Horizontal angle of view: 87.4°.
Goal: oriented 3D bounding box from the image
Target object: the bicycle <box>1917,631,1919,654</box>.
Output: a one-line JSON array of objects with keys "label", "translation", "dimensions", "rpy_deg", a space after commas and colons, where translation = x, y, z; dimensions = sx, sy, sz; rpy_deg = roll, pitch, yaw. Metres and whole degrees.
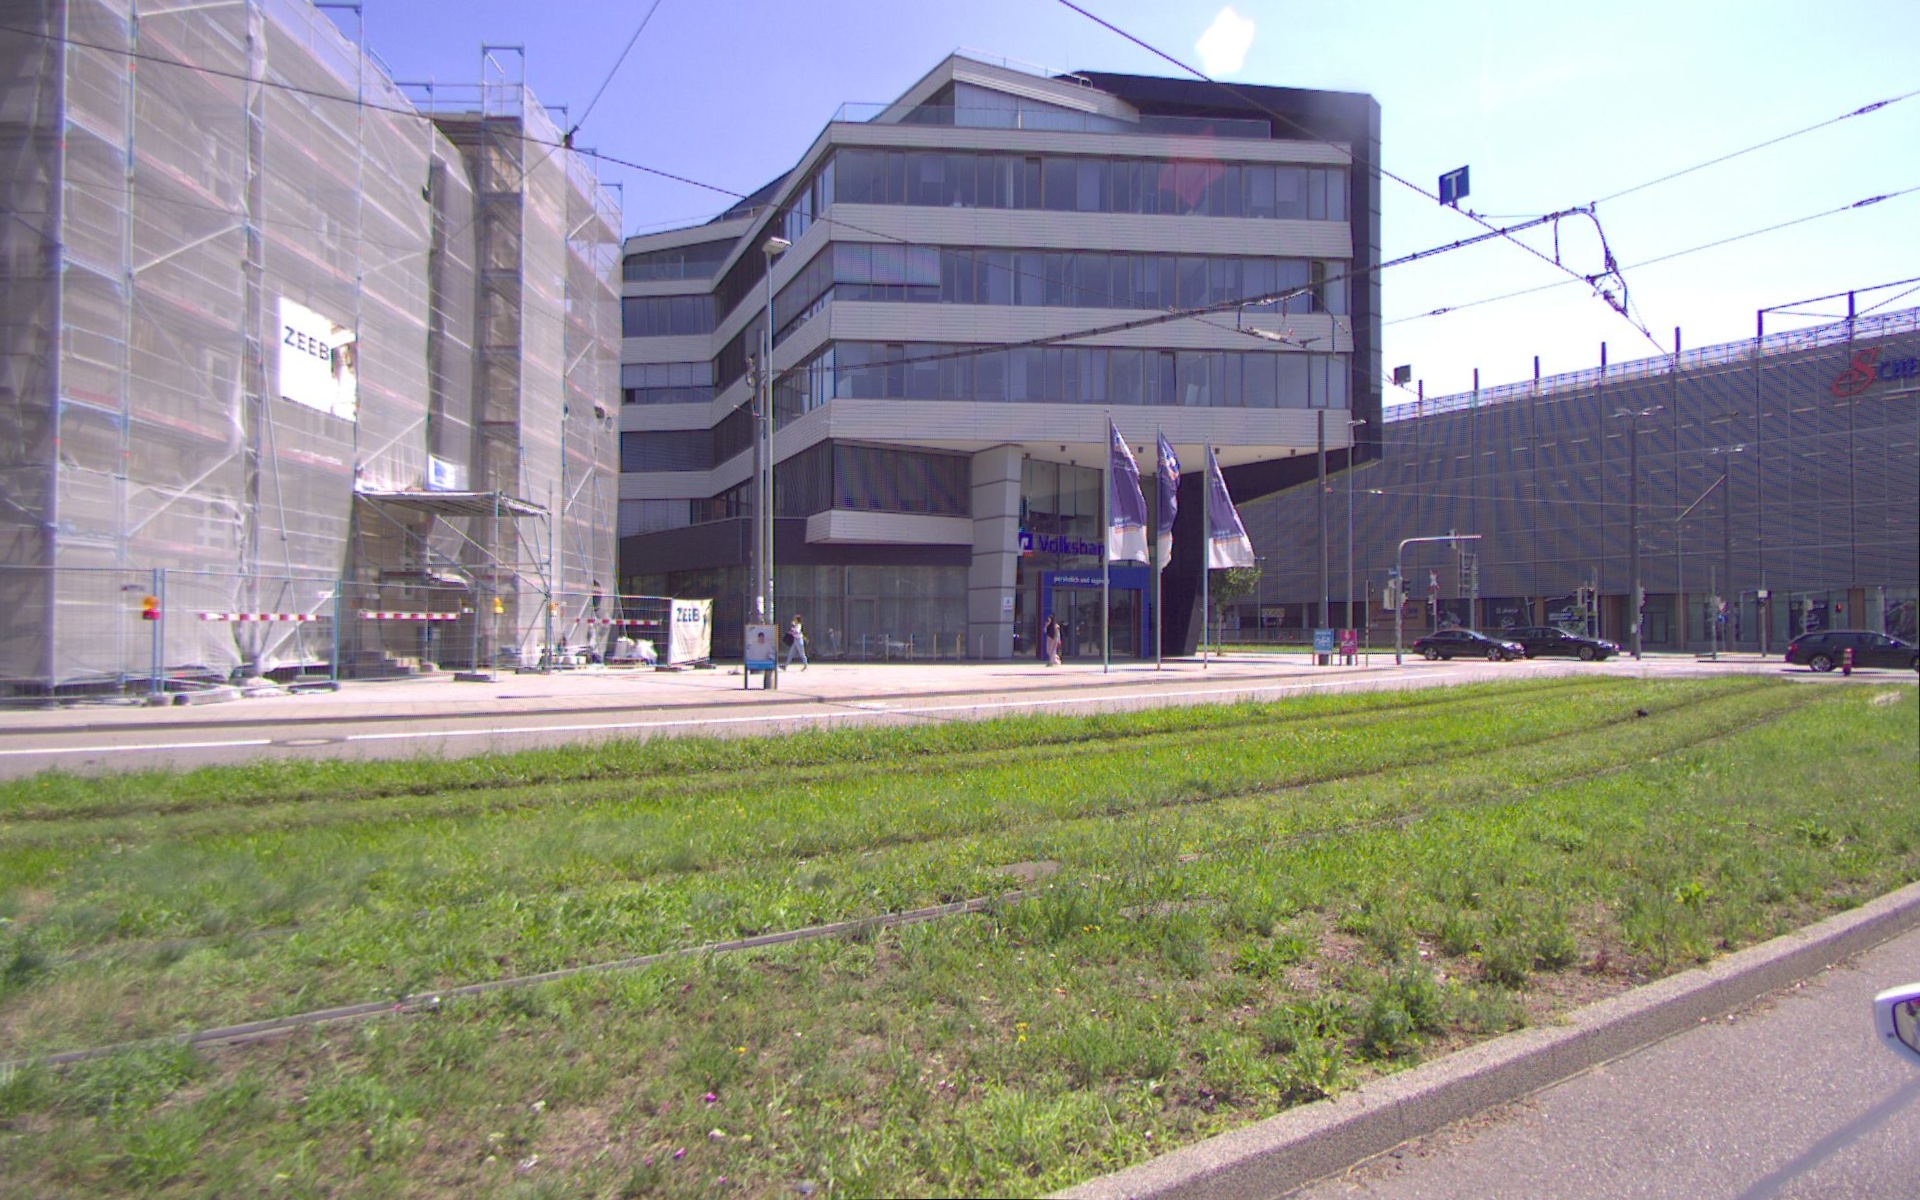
[{"label": "bicycle", "translation": [60.167, 2.601, 61.883], "dimensions": [2.990, 1.409, 1.056], "rpy_deg": [0, 0, -33]}]

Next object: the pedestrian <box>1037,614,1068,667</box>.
[{"label": "pedestrian", "translation": [2.984, 1.286, 32.388], "dimensions": [0.735, 1.652, 0.914], "rpy_deg": [0, 0, 27]}]

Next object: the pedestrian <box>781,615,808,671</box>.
[{"label": "pedestrian", "translation": [-4.668, 1.206, 28.403], "dimensions": [0.577, 1.539, 0.581], "rpy_deg": [0, 0, 12]}]

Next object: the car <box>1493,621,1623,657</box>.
[{"label": "car", "translation": [26.927, 1.710, 45.348], "dimensions": [1.873, 1.480, 4.722], "rpy_deg": [0, -1, -41]}]

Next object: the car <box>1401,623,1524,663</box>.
[{"label": "car", "translation": [22.275, 1.873, 44.628], "dimensions": [1.985, 1.597, 4.508], "rpy_deg": [0, -1, -41]}]

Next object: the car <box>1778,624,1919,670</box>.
[{"label": "car", "translation": [31.741, 1.637, 35.308], "dimensions": [4.479, 1.528, 1.831], "rpy_deg": [-2, -2, 44]}]
